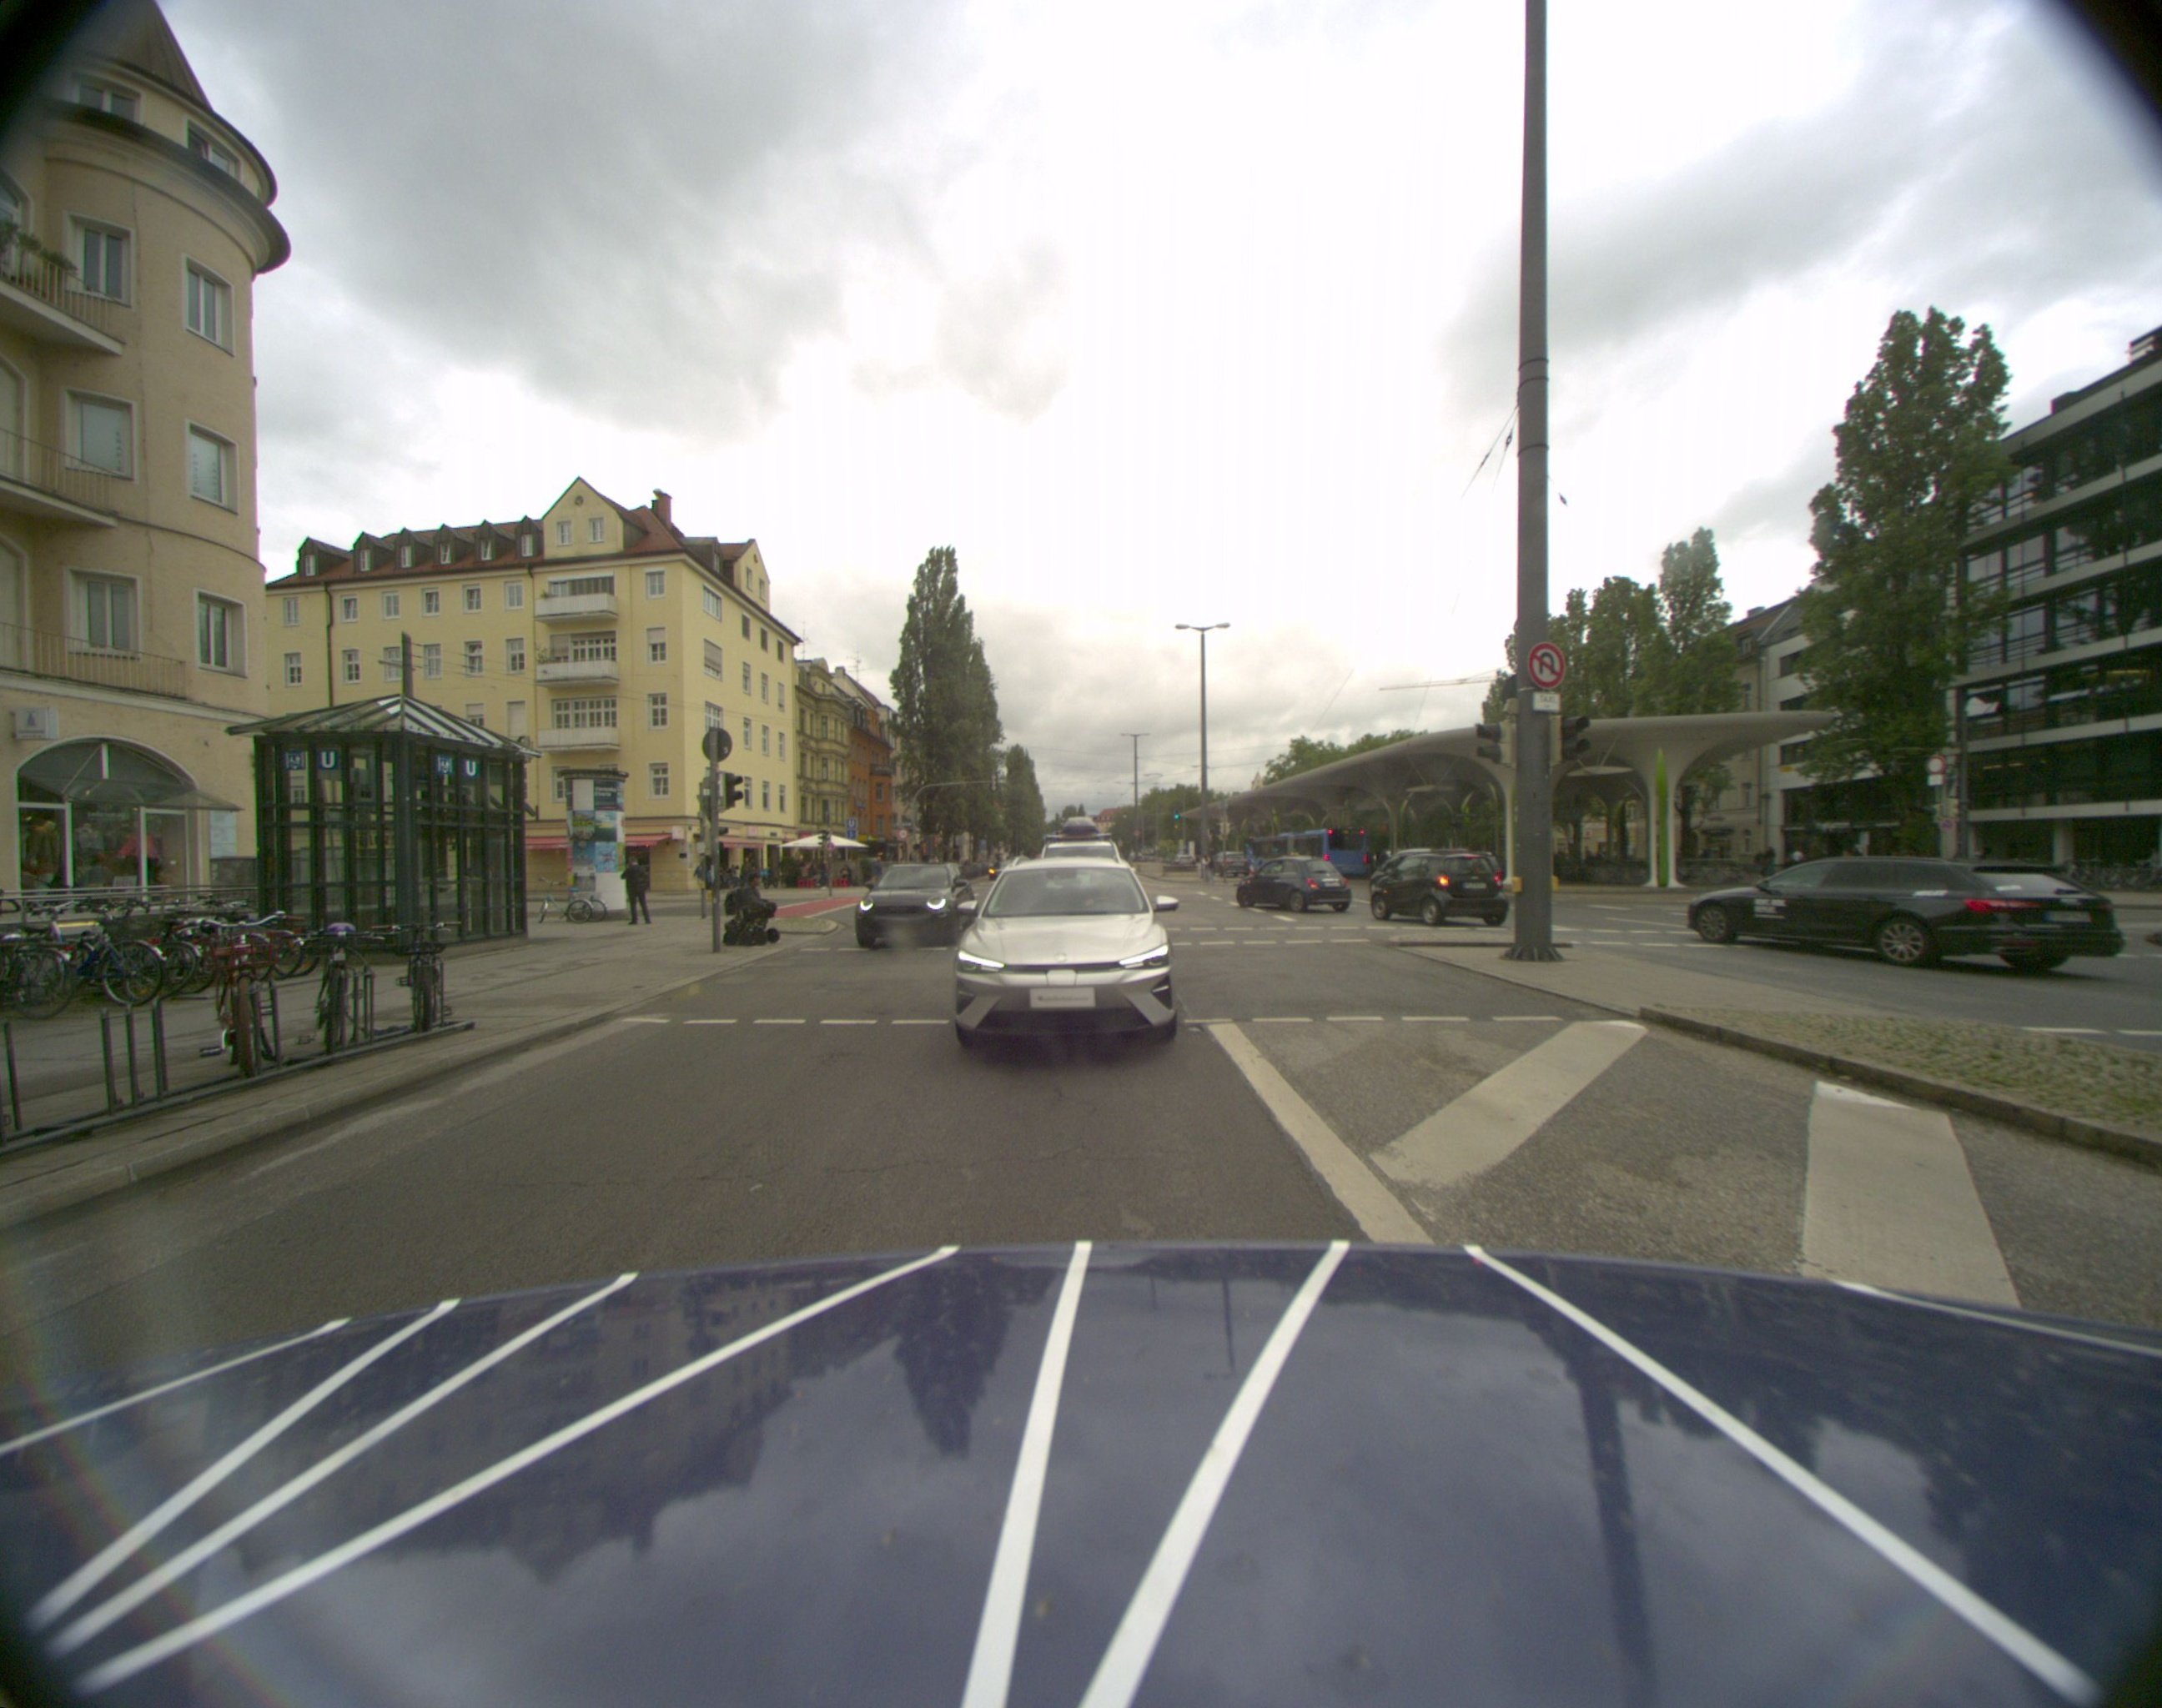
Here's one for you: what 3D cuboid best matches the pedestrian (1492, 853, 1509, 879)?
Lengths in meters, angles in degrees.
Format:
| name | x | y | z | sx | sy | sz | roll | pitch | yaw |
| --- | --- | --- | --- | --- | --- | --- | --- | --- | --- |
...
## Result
| name | x | y | z | sx | sy | sz | roll | pitch | yaw |
| --- | --- | --- | --- | --- | --- | --- | --- | --- | --- |
| pedestrian | 21.951 | 0.638 | 39.765 | 0.549 | 1.330 | 0.592 | -1 | 1 | -1 |

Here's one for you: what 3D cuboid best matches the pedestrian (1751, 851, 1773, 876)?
| name | x | y | z | sx | sy | sz | roll | pitch | yaw |
| --- | --- | --- | --- | --- | --- | --- | --- | --- | --- |
| pedestrian | 44.903 | 0.620 | 50.104 | 0.834 | 1.689 | 0.906 | 0 | 1 | 22 |

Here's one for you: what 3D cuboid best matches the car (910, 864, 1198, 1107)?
| name | x | y | z | sx | sy | sz | roll | pitch | yaw |
| --- | --- | --- | --- | --- | --- | --- | --- | --- | --- |
| car | -0.153 | 0.923 | 7.151 | 1.896 | 1.483 | 3.999 | -2 | 1 | 1 |

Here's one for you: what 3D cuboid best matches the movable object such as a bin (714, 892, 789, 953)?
| name | x | y | z | sx | sy | sz | roll | pitch | yaw |
| --- | --- | --- | --- | --- | --- | --- | --- | --- | --- |
| movable object such as a bin | -6.161 | 1.263 | 14.256 | 1.089 | 1.056 | 0.747 | 1 | 1 | -3 |

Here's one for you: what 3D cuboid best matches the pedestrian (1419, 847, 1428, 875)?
| name | x | y | z | sx | sy | sz | roll | pitch | yaw |
| --- | --- | --- | --- | --- | --- | --- | --- | --- | --- |
| pedestrian | 18.574 | 0.365 | 41.256 | 0.320 | 1.493 | 0.317 | -1 | 1 | -9 |

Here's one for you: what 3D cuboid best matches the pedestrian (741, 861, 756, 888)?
| name | x | y | z | sx | sy | sz | roll | pitch | yaw |
| --- | --- | --- | --- | --- | --- | --- | --- | --- | --- |
| pedestrian | -18.660 | 1.159 | 42.656 | 0.528 | 1.517 | 0.585 | -1 | 1 | 1 |

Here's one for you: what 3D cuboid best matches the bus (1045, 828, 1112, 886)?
| name | x | y | z | sx | sy | sz | roll | pitch | yaw |
| --- | --- | --- | --- | --- | --- | --- | --- | --- | --- |
| bus | -0.388 | 0.089 | 44.859 | 2.943 | 2.927 | 11.207 | -2 | 1 | -5 |

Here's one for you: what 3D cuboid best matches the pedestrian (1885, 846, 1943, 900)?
| name | x | y | z | sx | sy | sz | roll | pitch | yaw |
| --- | --- | --- | --- | --- | --- | --- | --- | --- | --- |
| pedestrian | 27.840 | 0.614 | 25.410 | 0.861 | 1.767 | 0.980 | -1 | 1 | 1 |

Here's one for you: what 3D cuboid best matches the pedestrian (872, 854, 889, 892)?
| name | x | y | z | sx | sy | sz | roll | pitch | yaw |
| --- | --- | --- | --- | --- | --- | --- | --- | --- | --- |
| pedestrian | -9.915 | 0.934 | 37.623 | 0.732 | 1.792 | 0.710 | -1 | 2 | -9 |

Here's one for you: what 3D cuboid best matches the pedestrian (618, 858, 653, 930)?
| name | x | y | z | sx | sy | sz | roll | pitch | yaw |
| --- | --- | --- | --- | --- | --- | --- | --- | --- | --- |
| pedestrian | -11.218 | 0.982 | 19.150 | 0.641 | 1.767 | 0.609 | -2 | 1 | -23 |

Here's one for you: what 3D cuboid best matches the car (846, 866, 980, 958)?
| name | x | y | z | sx | sy | sz | roll | pitch | yaw |
| --- | --- | --- | --- | --- | --- | --- | --- | --- | --- |
| car | -3.124 | 1.021 | 14.963 | 1.740 | 1.461 | 4.050 | -1 | 0 | -1 |

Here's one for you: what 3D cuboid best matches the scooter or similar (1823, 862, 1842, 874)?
| name | x | y | z | sx | sy | sz | roll | pitch | yaw |
| --- | --- | --- | --- | --- | --- | --- | --- | --- | --- |
| scooter or similar | 46.064 | 0.870 | 46.582 | 0.519 | 0.711 | 0.681 | 0 | 0 | 11 |

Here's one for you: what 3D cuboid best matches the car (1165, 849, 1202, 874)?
| name | x | y | z | sx | sy | sz | roll | pitch | yaw |
| --- | --- | --- | --- | --- | --- | --- | --- | --- | --- |
| car | 6.658 | 0.460 | 49.813 | 1.922 | 1.461 | 3.999 | -2 | 1 | 1 |

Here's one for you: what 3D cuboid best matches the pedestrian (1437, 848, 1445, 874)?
| name | x | y | z | sx | sy | sz | roll | pitch | yaw |
| --- | --- | --- | --- | --- | --- | --- | --- | --- | --- |
| pedestrian | 19.370 | 0.364 | 40.833 | 0.303 | 1.369 | 0.257 | 0 | 1 | -3 |

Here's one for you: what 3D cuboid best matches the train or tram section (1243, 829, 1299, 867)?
| name | x | y | z | sx | sy | sz | roll | pitch | yaw |
| --- | --- | --- | --- | --- | --- | --- | --- | --- | --- |
| train or tram section | 15.686 | -0.465 | 63.280 | 2.840 | 2.983 | 7.407 | -1 | 0 | 0 |

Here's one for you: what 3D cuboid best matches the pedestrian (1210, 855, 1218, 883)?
| name | x | y | z | sx | sy | sz | roll | pitch | yaw |
| --- | --- | --- | --- | --- | --- | --- | --- | --- | --- |
| pedestrian | 6.875 | 0.771 | 39.357 | 0.357 | 1.410 | 0.380 | -1 | 1 | -1 |

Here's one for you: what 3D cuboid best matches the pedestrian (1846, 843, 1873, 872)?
| name | x | y | z | sx | sy | sz | roll | pitch | yaw |
| --- | --- | --- | --- | --- | --- | --- | --- | --- | --- |
| pedestrian | 47.032 | 0.206 | 45.922 | 0.800 | 1.714 | 0.827 | 0 | 1 | 11 |

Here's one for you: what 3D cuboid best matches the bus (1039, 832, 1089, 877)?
| name | x | y | z | sx | sy | sz | roll | pitch | yaw |
| --- | --- | --- | --- | --- | --- | --- | --- | --- | --- |
| bus | -1.437 | -0.013 | 56.028 | 2.943 | 2.927 | 11.207 | -2 | 1 | -5 |

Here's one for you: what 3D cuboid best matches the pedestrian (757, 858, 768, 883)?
| name | x | y | z | sx | sy | sz | roll | pitch | yaw |
| --- | --- | --- | --- | --- | --- | --- | --- | --- | --- |
| pedestrian | -19.649 | 1.014 | 46.920 | 0.529 | 1.517 | 0.584 | -1 | 1 | -16 |

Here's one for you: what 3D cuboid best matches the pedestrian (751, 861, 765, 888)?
| name | x | y | z | sx | sy | sz | roll | pitch | yaw |
| --- | --- | --- | --- | --- | --- | --- | --- | --- | --- |
| pedestrian | -18.153 | 1.139 | 42.671 | 0.528 | 1.517 | 0.585 | -1 | 1 | 1 |

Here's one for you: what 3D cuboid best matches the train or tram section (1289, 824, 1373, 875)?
| name | x | y | z | sx | sy | sz | roll | pitch | yaw |
| --- | --- | --- | --- | --- | --- | --- | --- | --- | --- |
| train or tram section | 15.771 | -0.286 | 48.500 | 2.840 | 2.983 | 7.407 | -1 | 0 | 0 |

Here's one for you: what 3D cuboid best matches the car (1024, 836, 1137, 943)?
| name | x | y | z | sx | sy | sz | roll | pitch | yaw |
| --- | --- | --- | --- | --- | --- | --- | --- | --- | --- |
| car | -0.002 | 0.623 | 16.088 | 1.998 | 1.889 | 4.235 | -2 | 1 | 0 |

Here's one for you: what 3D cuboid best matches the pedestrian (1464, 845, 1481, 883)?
| name | x | y | z | sx | sy | sz | roll | pitch | yaw |
| --- | --- | --- | --- | --- | --- | --- | --- | --- | --- |
| pedestrian | 19.584 | 0.493 | 38.004 | 0.666 | 1.840 | 0.789 | 0 | 1 | 20 |

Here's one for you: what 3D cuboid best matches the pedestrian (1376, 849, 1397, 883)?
| name | x | y | z | sx | sy | sz | roll | pitch | yaw |
| --- | --- | --- | --- | --- | --- | --- | --- | --- | --- |
| pedestrian | 15.460 | 0.603 | 38.465 | 0.711 | 1.738 | 0.788 | 0 | 1 | -1 |

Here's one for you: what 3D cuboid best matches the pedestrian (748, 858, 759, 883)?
| name | x | y | z | sx | sy | sz | roll | pitch | yaw |
| --- | --- | --- | --- | --- | --- | --- | --- | --- | --- |
| pedestrian | -20.165 | 1.035 | 46.835 | 0.529 | 1.517 | 0.584 | -1 | 1 | -16 |

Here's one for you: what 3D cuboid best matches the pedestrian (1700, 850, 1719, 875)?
| name | x | y | z | sx | sy | sz | roll | pitch | yaw |
| --- | --- | --- | --- | --- | --- | --- | --- | --- | --- |
| pedestrian | 43.147 | 0.593 | 52.161 | 0.833 | 1.689 | 0.906 | 0 | 1 | 29 |

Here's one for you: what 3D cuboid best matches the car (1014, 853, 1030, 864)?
| name | x | y | z | sx | sy | sz | roll | pitch | yaw |
| --- | --- | --- | --- | --- | --- | --- | --- | --- | --- |
| car | -8.710 | 0.650 | 112.639 | 1.998 | 1.630 | 4.000 | -1 | 0 | 0 |

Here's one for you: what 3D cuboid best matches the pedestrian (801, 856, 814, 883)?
| name | x | y | z | sx | sy | sz | roll | pitch | yaw |
| --- | --- | --- | --- | --- | --- | --- | --- | --- | --- |
| pedestrian | -16.984 | 0.961 | 47.132 | 0.552 | 1.675 | 0.585 | -1 | 1 | 1 |

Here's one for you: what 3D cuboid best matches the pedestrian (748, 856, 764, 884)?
| name | x | y | z | sx | sy | sz | roll | pitch | yaw |
| --- | --- | --- | --- | --- | --- | --- | --- | --- | --- |
| pedestrian | -19.411 | 0.971 | 45.417 | 0.686 | 1.657 | 0.621 | -1 | 1 | -44 |

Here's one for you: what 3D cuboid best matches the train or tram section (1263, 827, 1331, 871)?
| name | x | y | z | sx | sy | sz | roll | pitch | yaw |
| --- | --- | --- | --- | --- | --- | --- | --- | --- | --- |
| train or tram section | 15.741 | -0.374 | 55.887 | 2.840 | 2.983 | 7.407 | -1 | 0 | 0 |

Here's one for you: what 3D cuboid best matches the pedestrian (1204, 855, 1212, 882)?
| name | x | y | z | sx | sy | sz | roll | pitch | yaw |
| --- | --- | --- | --- | --- | --- | --- | --- | --- | --- |
| pedestrian | 6.648 | 0.774 | 39.722 | 0.357 | 1.410 | 0.380 | -1 | 1 | -1 |

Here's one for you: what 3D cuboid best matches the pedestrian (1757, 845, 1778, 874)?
| name | x | y | z | sx | sy | sz | roll | pitch | yaw |
| --- | --- | --- | --- | --- | --- | --- | --- | --- | --- |
| pedestrian | 42.651 | 0.341 | 47.197 | 0.951 | 1.762 | 0.985 | 0 | 1 | 41 |

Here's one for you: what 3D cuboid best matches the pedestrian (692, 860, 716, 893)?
| name | x | y | z | sx | sy | sz | roll | pitch | yaw |
| --- | --- | --- | --- | --- | --- | --- | --- | --- | --- |
| pedestrian | -18.954 | 1.123 | 38.205 | 0.715 | 1.558 | 0.832 | -2 | 1 | 0 |

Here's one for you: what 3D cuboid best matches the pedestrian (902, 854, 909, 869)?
| name | x | y | z | sx | sy | sz | roll | pitch | yaw |
| --- | --- | --- | --- | --- | --- | --- | --- | --- | --- |
| pedestrian | -18.667 | 0.794 | 80.932 | 0.552 | 1.675 | 0.585 | -1 | 1 | 1 |

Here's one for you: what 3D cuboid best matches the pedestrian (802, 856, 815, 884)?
| name | x | y | z | sx | sy | sz | roll | pitch | yaw |
| --- | --- | --- | --- | --- | --- | --- | --- | --- | --- |
| pedestrian | -16.606 | 0.956 | 46.349 | 0.552 | 1.675 | 0.585 | -1 | 1 | 1 |

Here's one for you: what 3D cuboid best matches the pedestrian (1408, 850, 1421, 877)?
| name | x | y | z | sx | sy | sz | roll | pitch | yaw |
| --- | --- | --- | --- | --- | --- | --- | --- | --- | --- |
| pedestrian | 18.311 | 0.520 | 41.773 | 0.490 | 1.493 | 0.426 | -1 | 1 | -20 |

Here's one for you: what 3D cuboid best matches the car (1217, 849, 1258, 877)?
| name | x | y | z | sx | sy | sz | roll | pitch | yaw |
| --- | --- | --- | --- | --- | --- | --- | --- | --- | --- |
| car | 10.108 | 0.547 | 49.404 | 1.847 | 1.674 | 3.999 | -2 | 1 | 1 |

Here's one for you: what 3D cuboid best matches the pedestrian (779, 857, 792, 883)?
| name | x | y | z | sx | sy | sz | roll | pitch | yaw |
| --- | --- | --- | --- | --- | --- | --- | --- | --- | --- |
| pedestrian | -18.798 | 1.023 | 48.381 | 0.552 | 1.675 | 0.585 | -1 | 1 | 1 |

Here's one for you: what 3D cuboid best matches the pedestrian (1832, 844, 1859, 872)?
| name | x | y | z | sx | sy | sz | roll | pitch | yaw |
| --- | --- | --- | --- | --- | --- | --- | --- | --- | --- |
| pedestrian | 46.067 | 0.244 | 45.801 | 0.800 | 1.714 | 0.827 | 0 | 1 | 11 |
